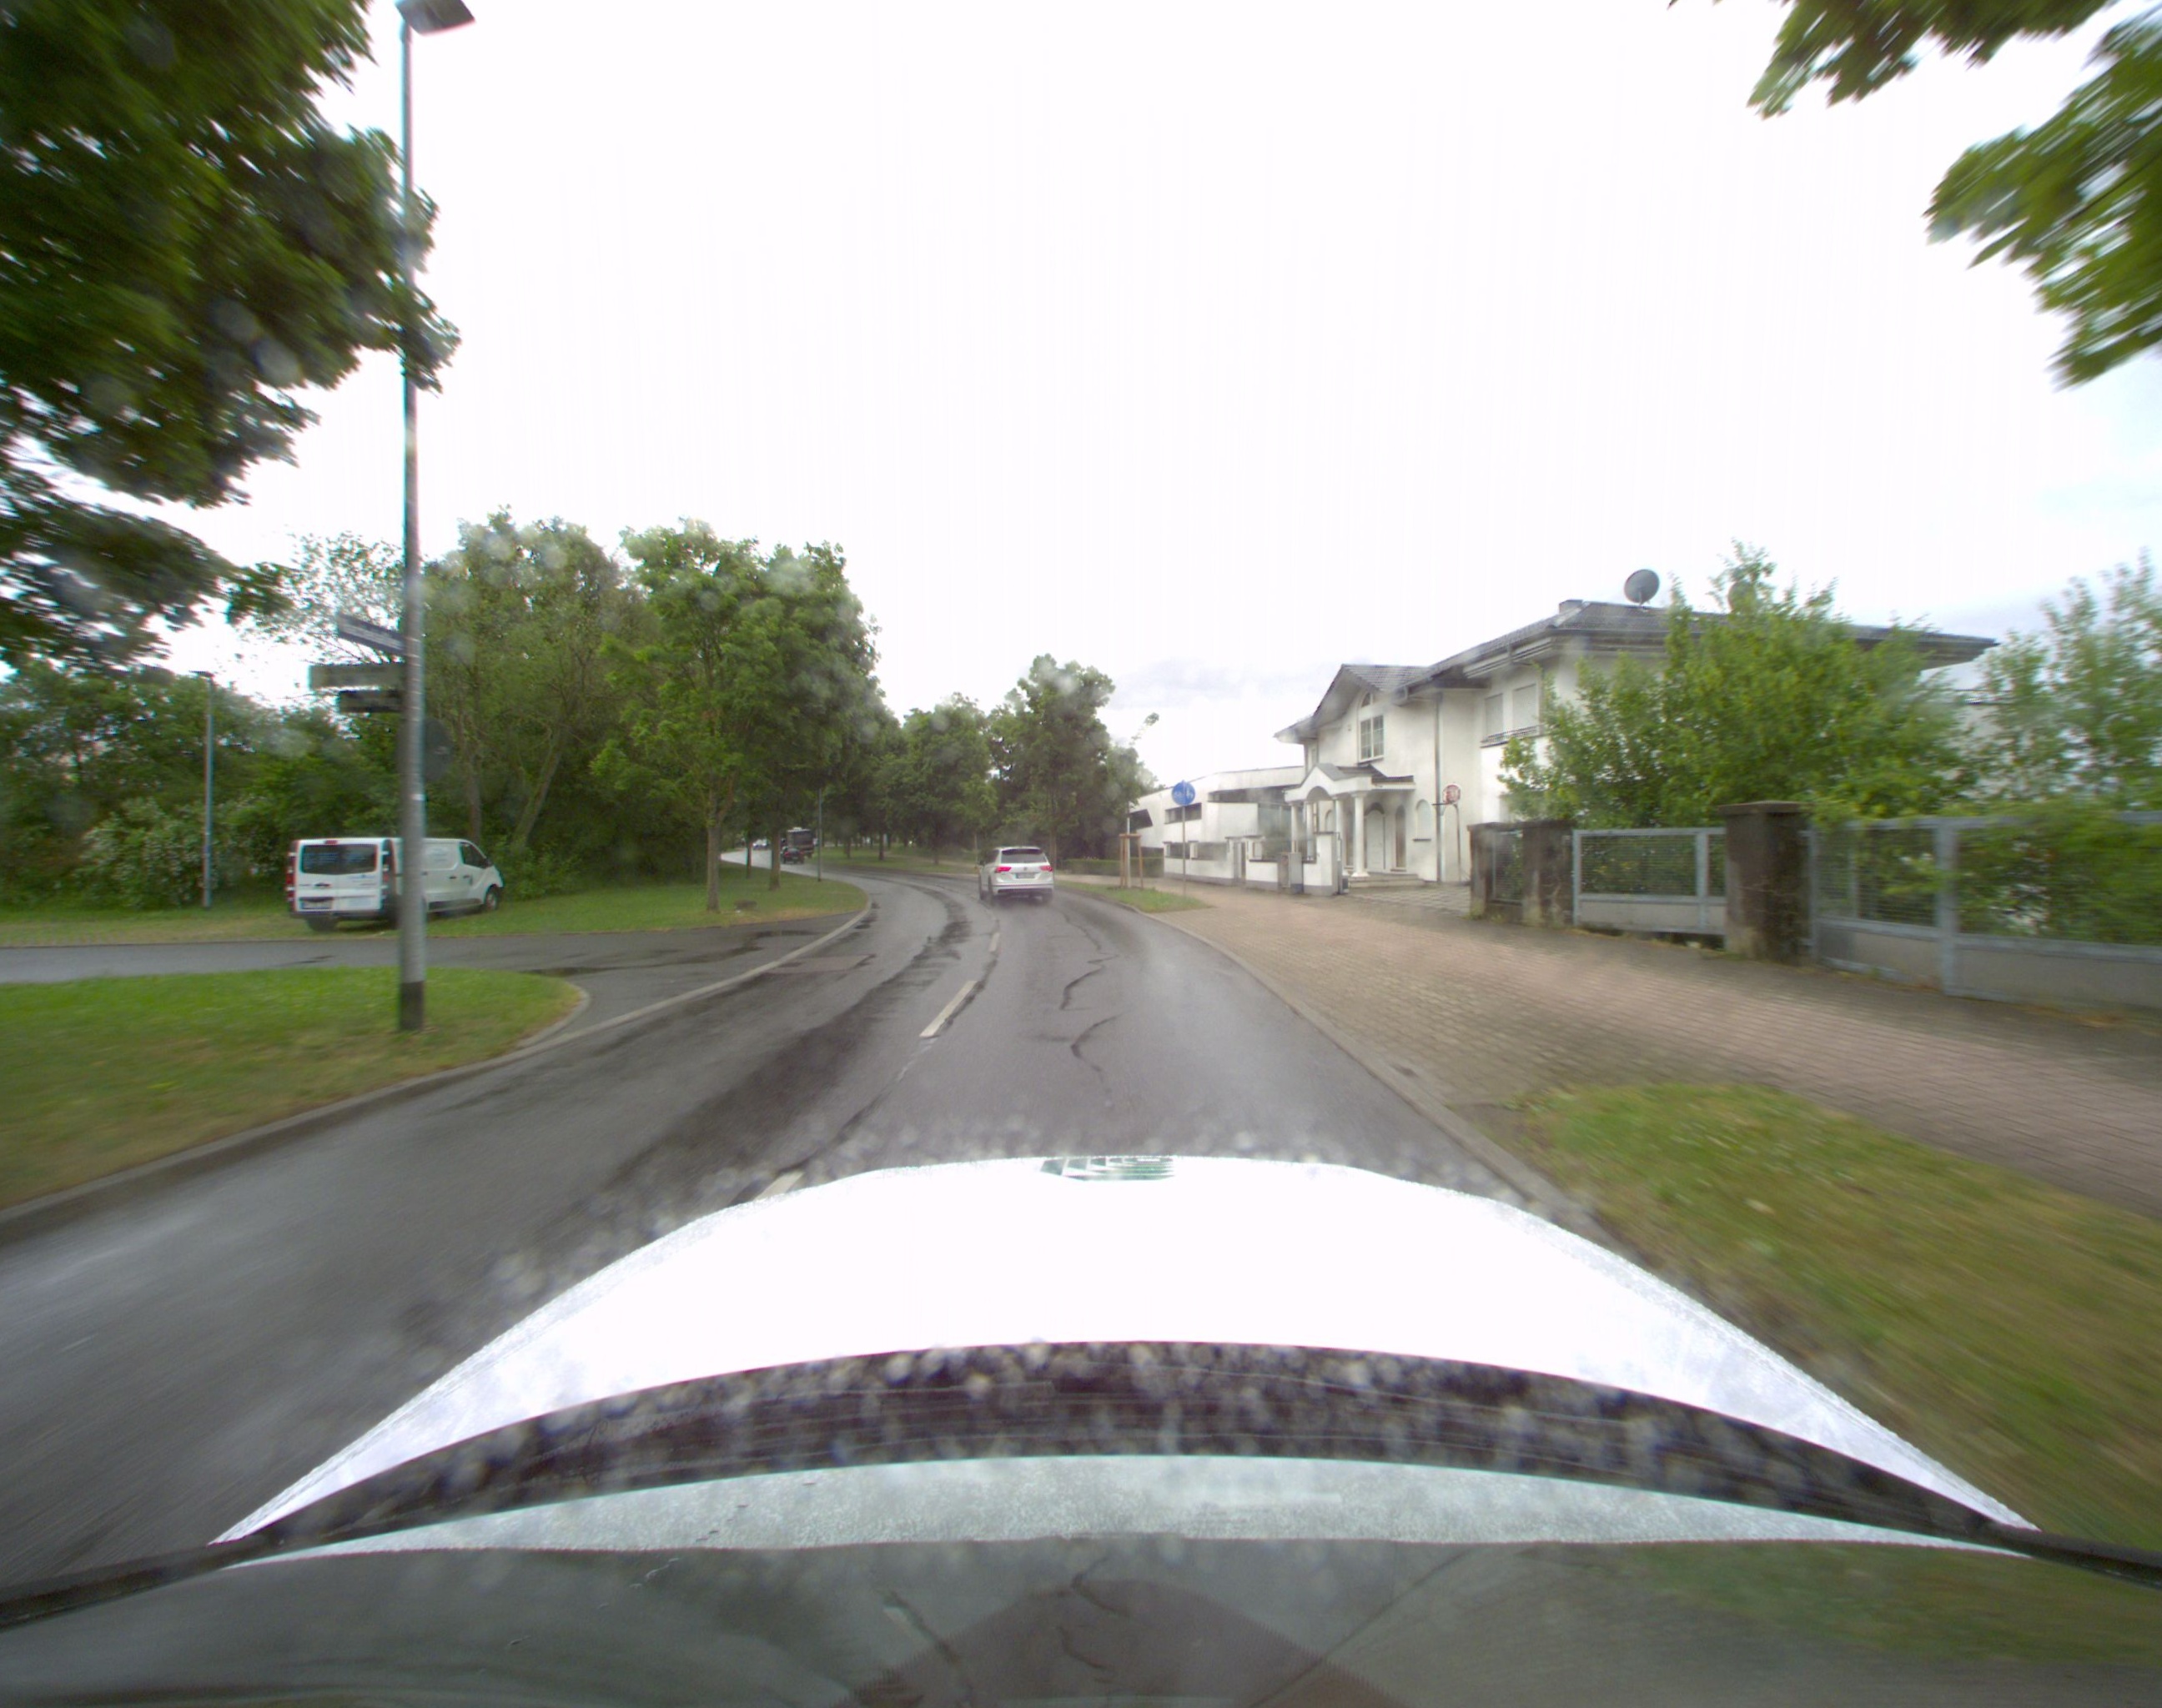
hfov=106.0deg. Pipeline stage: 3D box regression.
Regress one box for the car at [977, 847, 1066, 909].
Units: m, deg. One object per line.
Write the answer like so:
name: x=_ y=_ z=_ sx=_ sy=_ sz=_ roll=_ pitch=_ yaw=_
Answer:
car: x=-1.892 y=0.664 z=24.676 sx=1.977 sy=1.653 sz=4.157 roll=-1 pitch=0 yaw=-14

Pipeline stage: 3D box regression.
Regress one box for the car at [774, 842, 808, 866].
car: x=-24.994 y=0.004 z=70.170 sx=1.914 sy=2.013 sz=3.904 roll=-1 pitch=0 yaw=-32

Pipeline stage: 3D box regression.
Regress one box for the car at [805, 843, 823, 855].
car: x=-44.086 y=-0.846 z=134.529 sx=1.992 sy=1.804 sz=3.990 roll=2 pitch=-1 yaw=-7

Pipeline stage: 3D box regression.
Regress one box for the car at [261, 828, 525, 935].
car: x=-15.756 y=0.465 z=19.224 sx=2.127 sy=1.985 sz=5.459 roll=-2 pitch=3 yaw=-9

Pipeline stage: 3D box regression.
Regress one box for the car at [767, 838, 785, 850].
car: x=-41.852 y=-1.411 z=111.665 sx=1.799 sy=1.537 sz=4.056 roll=2 pitch=1 yaw=-28

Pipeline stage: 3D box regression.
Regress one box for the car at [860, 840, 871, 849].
car: x=-45.975 y=-2.045 z=173.751 sx=1.994 sy=1.807 sz=3.985 roll=2 pitch=-1 yaw=-11

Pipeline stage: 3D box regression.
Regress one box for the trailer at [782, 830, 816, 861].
trailer: x=-27.865 y=-0.896 z=80.312 sx=2.006 sy=2.807 sz=5.557 roll=-6 pitch=4 yaw=-28
